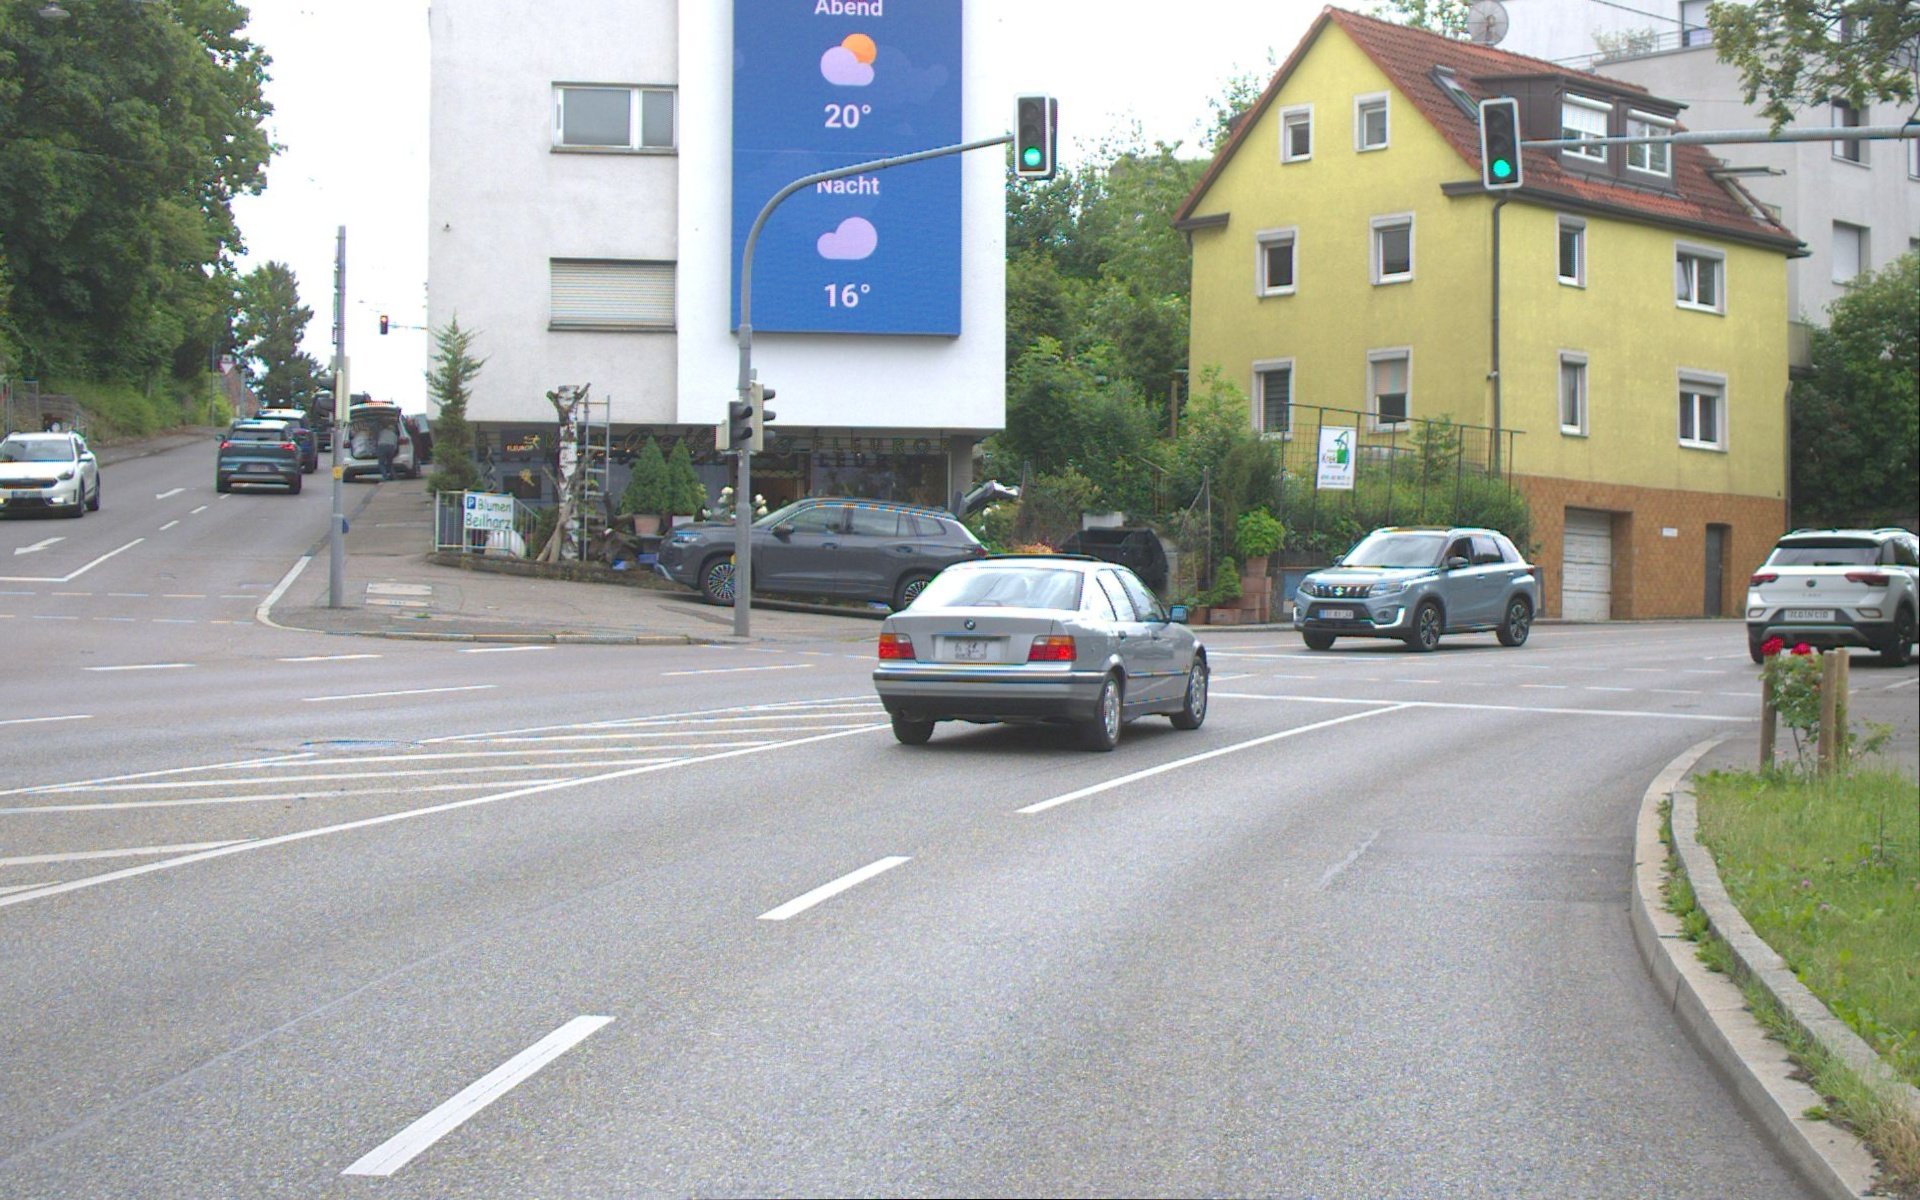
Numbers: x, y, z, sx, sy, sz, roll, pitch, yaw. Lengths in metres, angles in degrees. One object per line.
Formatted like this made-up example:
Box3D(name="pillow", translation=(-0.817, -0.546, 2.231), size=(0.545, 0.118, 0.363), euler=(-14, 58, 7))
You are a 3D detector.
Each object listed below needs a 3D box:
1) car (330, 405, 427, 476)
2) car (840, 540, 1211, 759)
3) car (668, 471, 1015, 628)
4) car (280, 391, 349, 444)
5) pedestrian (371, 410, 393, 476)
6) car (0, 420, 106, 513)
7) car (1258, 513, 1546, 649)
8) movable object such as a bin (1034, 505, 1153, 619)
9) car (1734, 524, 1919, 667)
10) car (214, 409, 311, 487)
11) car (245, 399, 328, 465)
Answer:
Box3D(name="car", translation=(-14.213, -3.888, 84.238), size=(2.089, 1.607, 4.001), euler=(1, 1, -6))
Box3D(name="car", translation=(0.582, 0.306, 25.911), size=(1.708, 1.459, 3.997), euler=(2, 2, 17))
Box3D(name="car", translation=(-1.751, -0.748, 49.604), size=(4.687, 1.706, 2.319), euler=(5, 4, -7))
Box3D(name="car", translation=(-19.881, -5.615, 105.986), size=(1.794, 1.460, 4.001), euler=(2, 2, -7))
Box3D(name="pedestrian", translation=(-13.772, -3.736, 81.901), size=(0.458, 1.524, 0.527), euler=(1, 0, -6))
Box3D(name="car", translation=(-17.191, -2.523, 64.329), size=(1.882, 1.562, 4.391), euler=(0, 4, -8))
Box3D(name="car", translation=(5.883, -0.262, 45.411), size=(1.900, 1.689, 4.338), euler=(1, 1, 36))
Box3D(name="movable object such as a bin", translation=(2.157, -0.623, 55.106), size=(1.763, 1.773, 1.854), euler=(1, 1, 6))
Box3D(name="car", translation=(10.576, -0.083, 40.478), size=(1.783, 1.573, 3.994), euler=(2, 1, 29))
Box3D(name="car", translation=(-15.387, -3.382, 75.989), size=(1.779, 1.573, 4.002), euler=(2, 3, -7))
Box3D(name="car", translation=(-17.267, -4.331, 88.225), size=(1.779, 1.573, 4.002), euler=(2, 3, -7))
